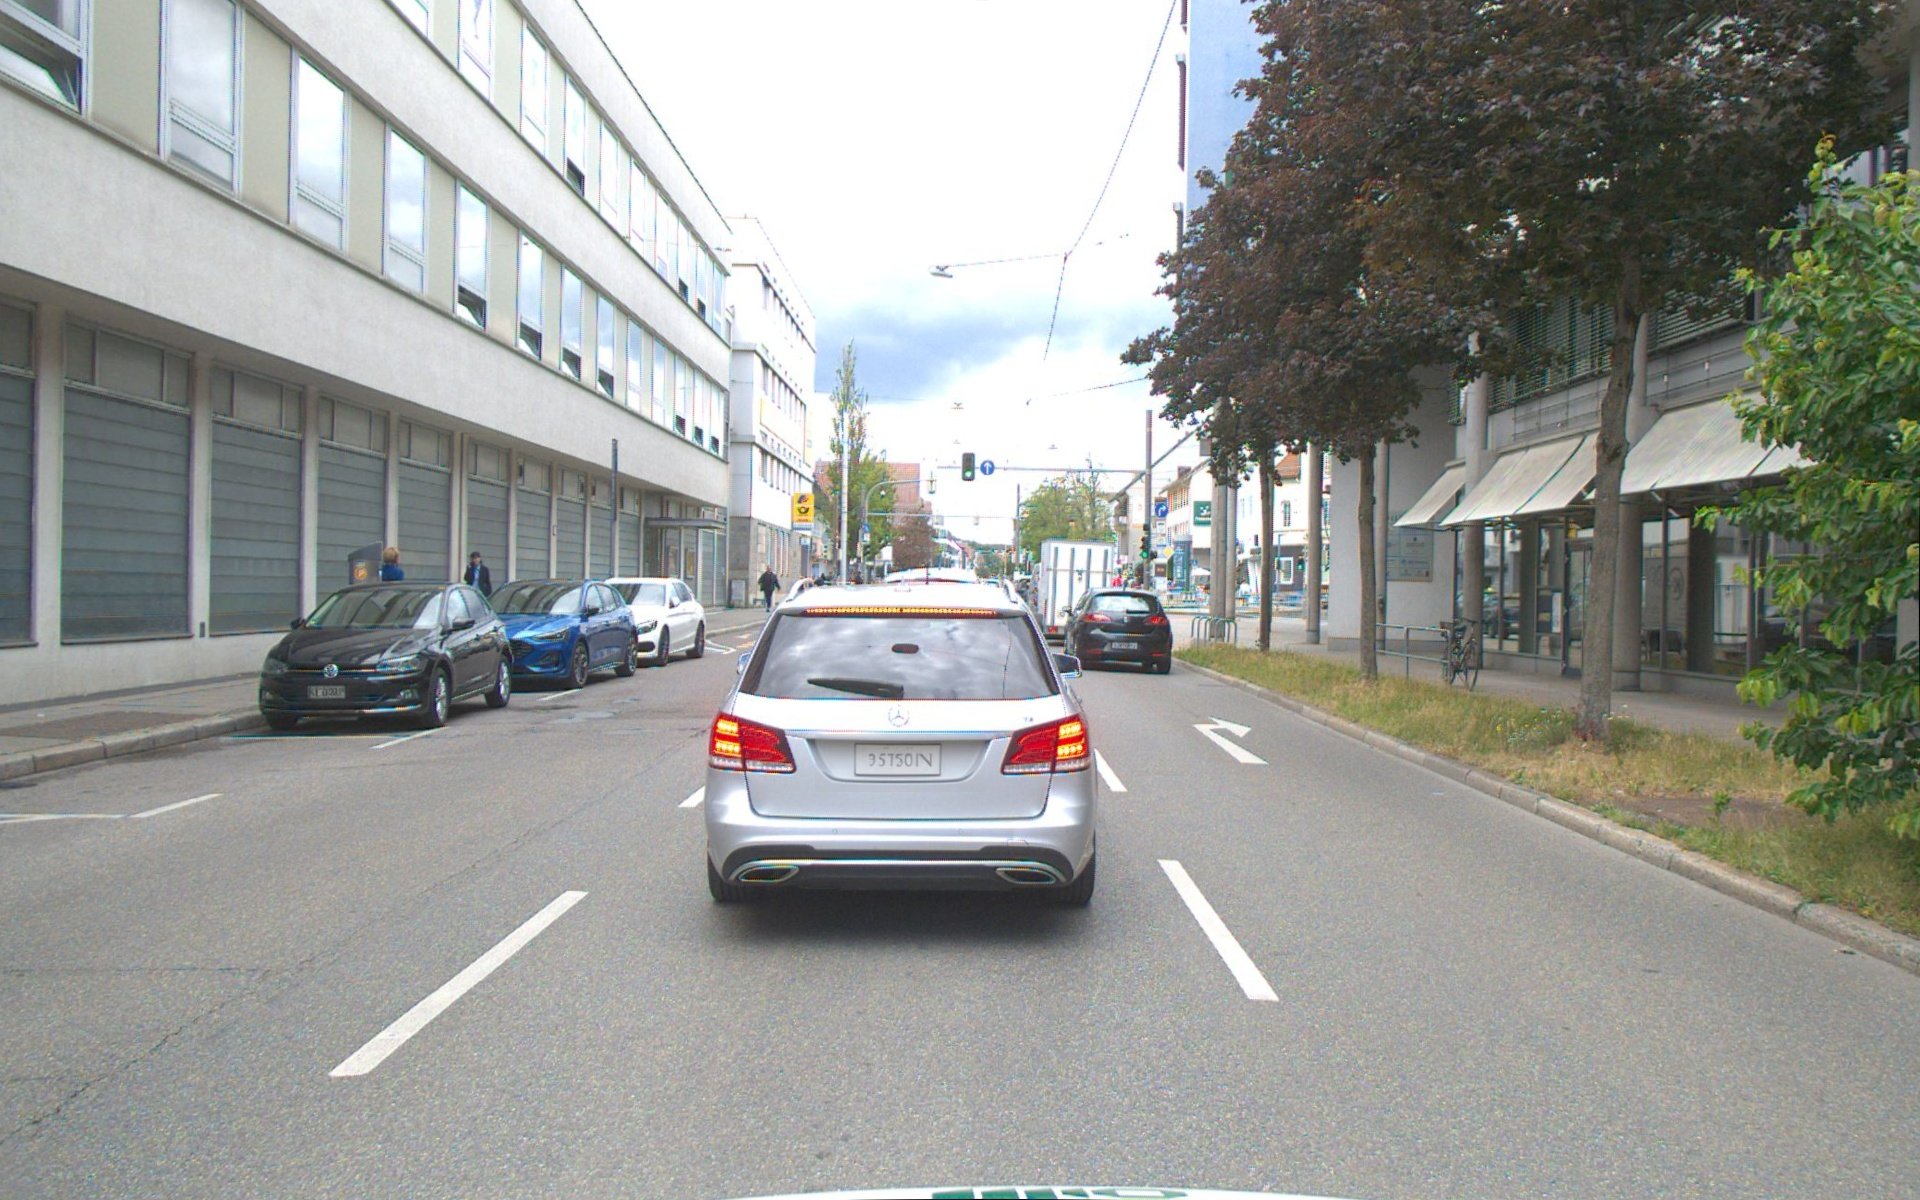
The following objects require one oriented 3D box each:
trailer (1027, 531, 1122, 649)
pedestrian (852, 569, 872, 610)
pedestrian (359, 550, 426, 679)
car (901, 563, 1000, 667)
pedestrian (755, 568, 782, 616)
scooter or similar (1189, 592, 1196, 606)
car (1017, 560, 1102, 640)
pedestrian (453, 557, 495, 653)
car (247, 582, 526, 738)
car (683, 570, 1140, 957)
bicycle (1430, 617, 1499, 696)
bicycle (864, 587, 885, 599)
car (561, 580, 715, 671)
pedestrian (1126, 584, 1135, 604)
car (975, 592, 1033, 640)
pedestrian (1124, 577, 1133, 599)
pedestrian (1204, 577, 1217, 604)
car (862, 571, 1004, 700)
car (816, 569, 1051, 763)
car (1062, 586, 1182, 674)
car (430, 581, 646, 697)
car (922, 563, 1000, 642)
[{"bbox_3d":[2.765,-0.259,40.817,1.840,2.658,4.322,3,0,-1],"label":"trailer"},{"bbox_3d":[-4.228,-0.440,71.466,0.634,1.748,0.783,2,1,8],"label":"pedestrian"},{"bbox_3d":[-7.912,0.195,23.072,0.577,1.748,1.055,1,0,-1],"label":"pedestrian"},{"bbox_3d":[-0.203,0.234,30.700,1.699,1.789,3.999,1,1,-1],"label":"car"},{"bbox_3d":[-7.157,-0.305,61.825,0.844,1.748,1.031,2,0,-2],"label":"pedestrian"},{"bbox_3d":[17.107,-0.090,121.688,0.266,1.019,1.028,1,0,-3],"label":"scooter or similar"},{"bbox_3d":[2.664,-0.032,45.424,1.840,1.979,4.905,3,1,-1],"label":"car"},{"bbox_3d":[-8.911,0.085,30.351,0.577,1.748,0.649,1,0,-2],"label":"pedestrian"},{"bbox_3d":[-5.951,0.550,17.634,1.681,1.450,3.869,-1,1,-2],"label":"car"},{"bbox_3d":[-0.236,0.631,8.687,1.808,1.534,4.170,1,1,-1],"label":"car"},{"bbox_3d":[7.706,0.844,25.338,0.353,1.105,2.027,2,0,-1],"label":"bicycle"},{"bbox_3d":[-7.791,-0.634,150.534,1.902,1.047,0.529,2,0,-9],"label":"bicycle"},{"bbox_3d":[-5.599,0.394,29.286,1.635,1.459,4.554,-1,1,2],"label":"car"},{"bbox_3d":[13.224,-0.472,128.468,0.566,1.495,0.651,2,0,0],"label":"pedestrian"},{"bbox_3d":[1.412,0.503,54.031,1.699,1.435,3.999,1,1,-1],"label":"car"},{"bbox_3d":[13.364,-0.978,131.445,0.566,1.695,0.651,2,0,-2],"label":"pedestrian"},{"bbox_3d":[16.019,-0.598,105.779,0.635,1.748,0.703,1,0,29],"label":"pedestrian"},{"bbox_3d":[-0.368,0.410,21.849,1.699,1.534,3.999,1,1,-1],"label":"car"},{"bbox_3d":[-0.112,0.513,15.356,1.697,1.534,4.003,1,0,6],"label":"car"},{"bbox_3d":[2.866,0.493,30.027,1.699,1.435,3.999,1,1,-1],"label":"car"},{"bbox_3d":[-5.811,0.478,23.305,1.777,1.450,4.266,-1,1,2],"label":"car"},{"bbox_3d":[0.000,0.043,40.600,1.791,1.816,3.999,1,1,-1],"label":"car"}]
